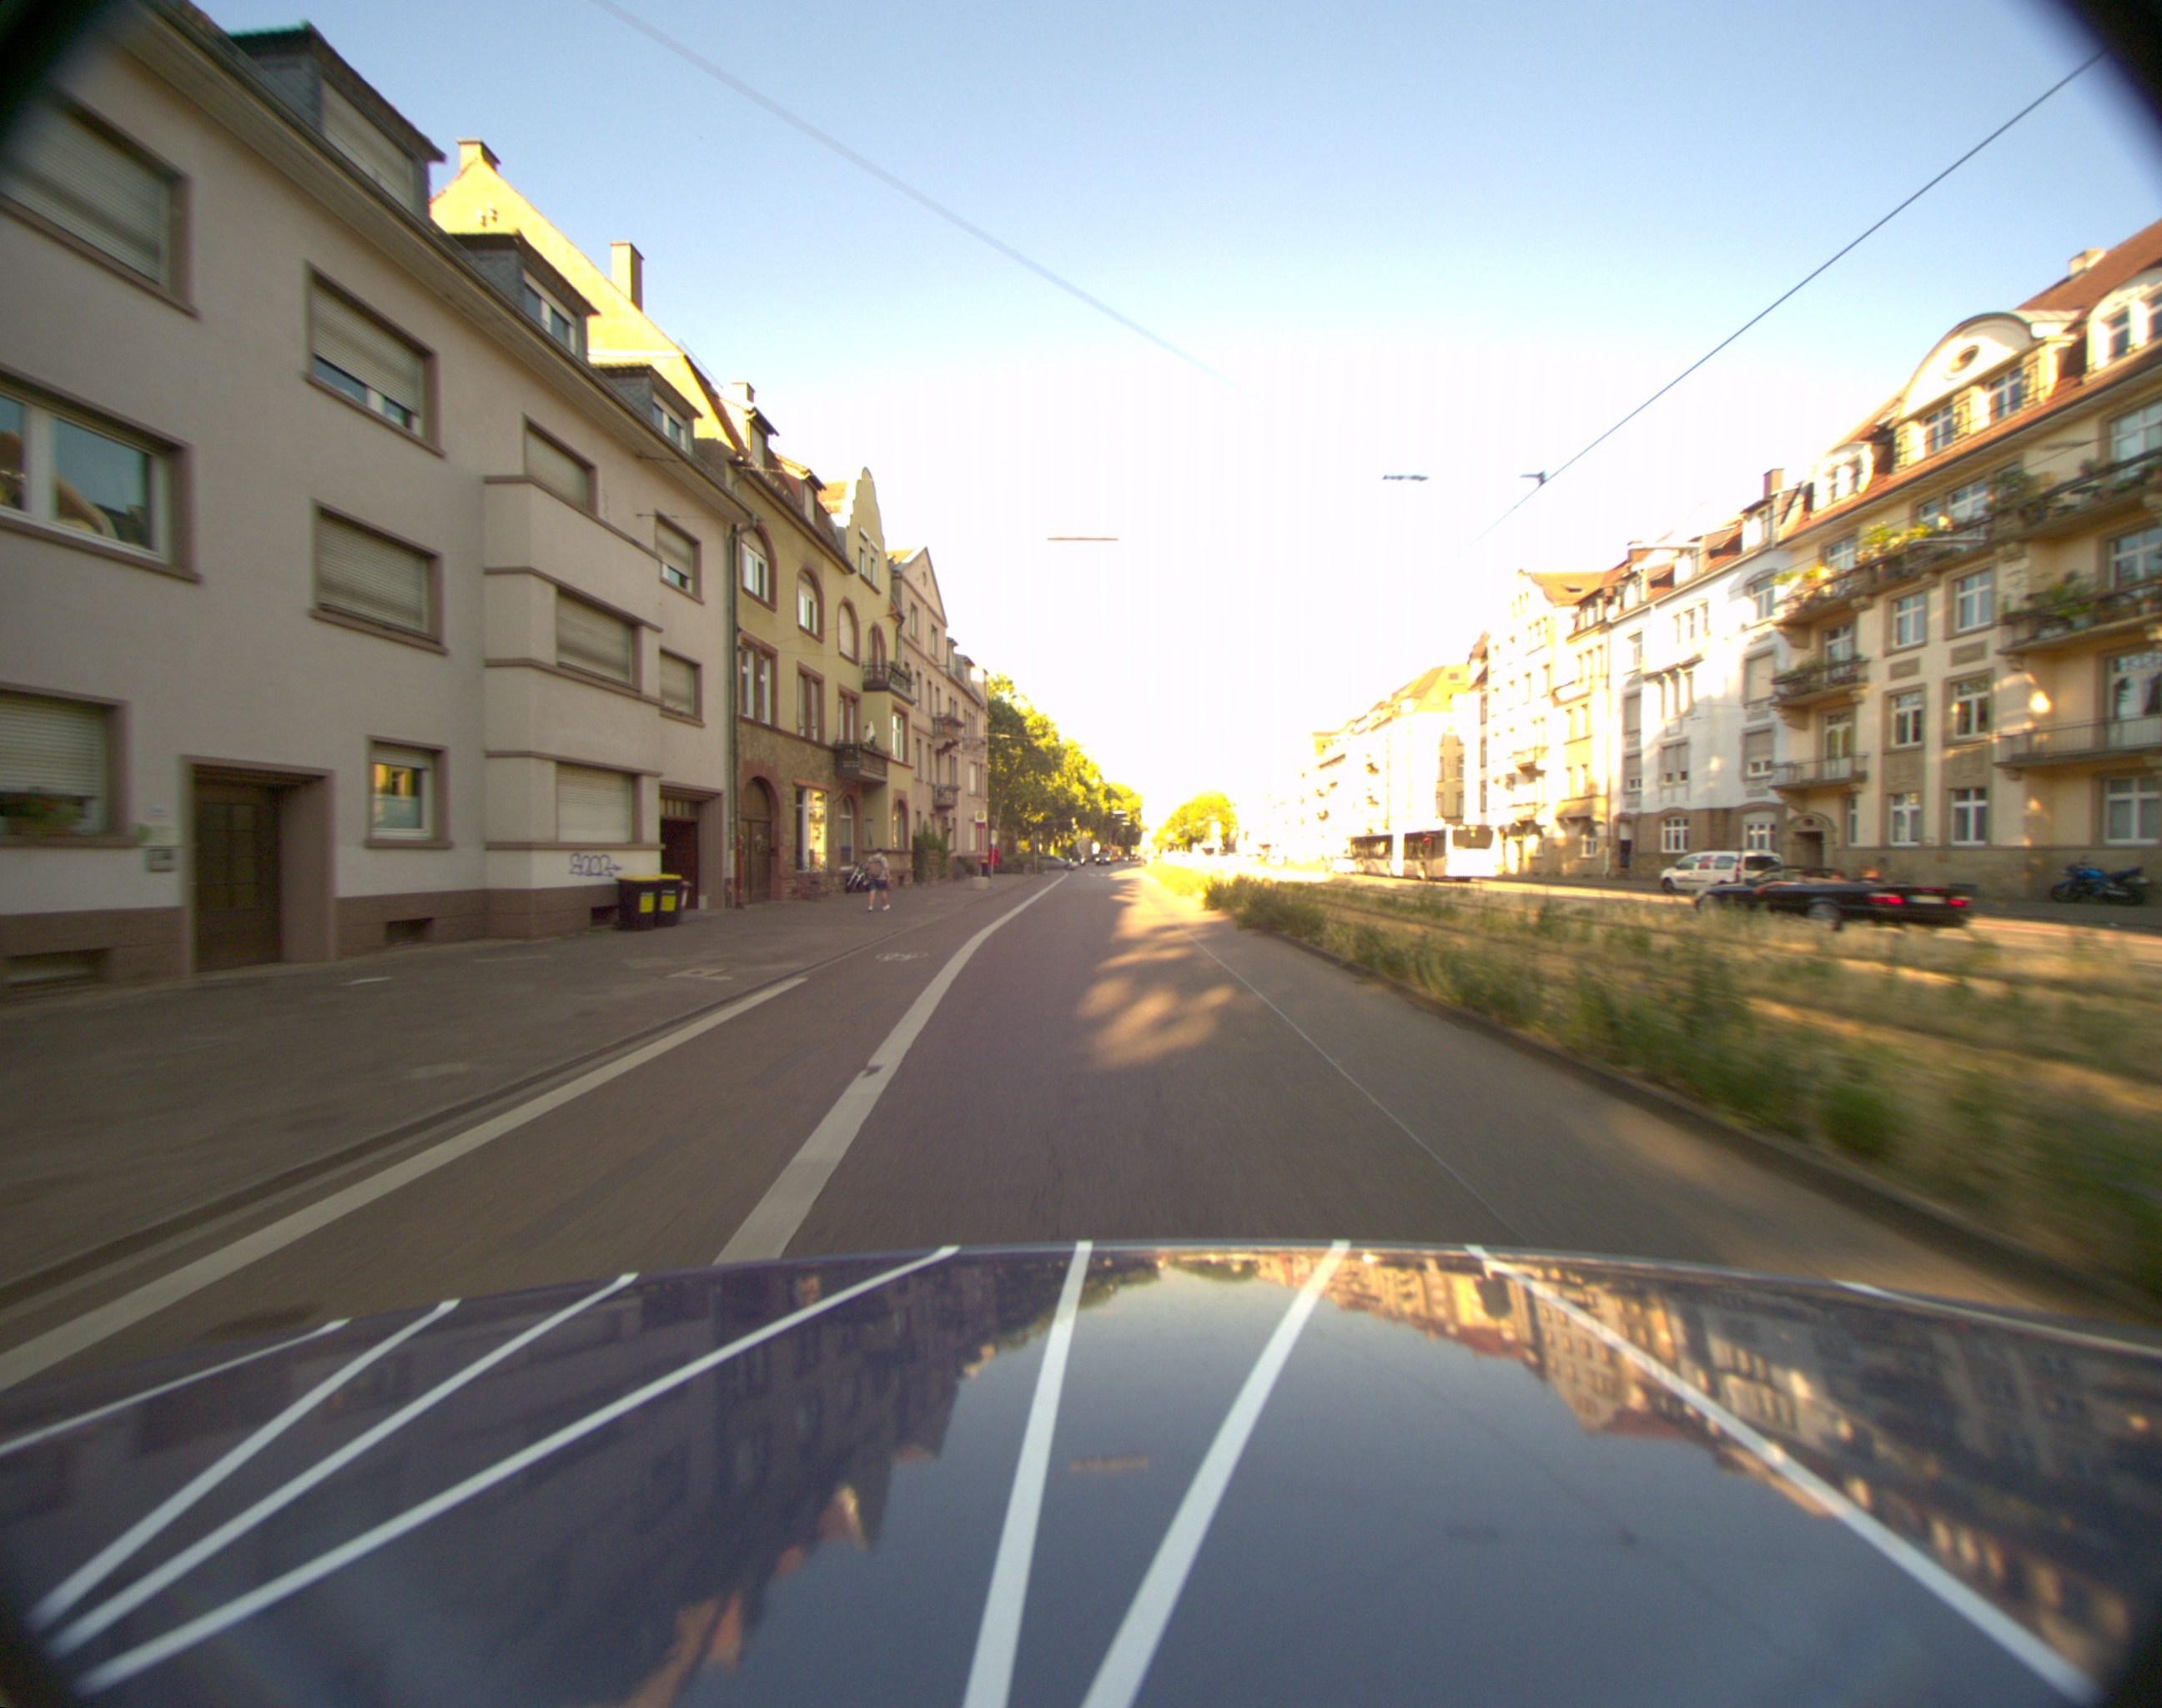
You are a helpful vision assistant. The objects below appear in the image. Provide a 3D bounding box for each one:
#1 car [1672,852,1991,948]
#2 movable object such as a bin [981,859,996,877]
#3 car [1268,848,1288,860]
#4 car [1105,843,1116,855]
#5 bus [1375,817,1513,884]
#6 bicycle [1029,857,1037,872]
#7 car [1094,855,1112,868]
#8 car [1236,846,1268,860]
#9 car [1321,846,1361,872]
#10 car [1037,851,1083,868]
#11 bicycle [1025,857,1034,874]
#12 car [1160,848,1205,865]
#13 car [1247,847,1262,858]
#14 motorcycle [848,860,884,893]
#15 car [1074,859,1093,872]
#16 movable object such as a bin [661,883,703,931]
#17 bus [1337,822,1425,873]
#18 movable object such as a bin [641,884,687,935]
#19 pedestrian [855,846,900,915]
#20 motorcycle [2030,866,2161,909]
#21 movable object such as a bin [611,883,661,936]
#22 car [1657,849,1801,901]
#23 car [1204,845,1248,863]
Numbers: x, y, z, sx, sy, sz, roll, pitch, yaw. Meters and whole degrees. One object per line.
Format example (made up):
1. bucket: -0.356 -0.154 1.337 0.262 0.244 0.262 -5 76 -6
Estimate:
1. car: 14.142 0.746 14.826 1.720 1.477 4.700 2 1 4
2. movable object such as a bin: -5.592 0.834 45.960 0.656 1.040 0.660 0 2 17
3. car: 25.095 -0.028 96.762 1.733 1.471 3.821 1 1 26
4. car: 5.737 -0.994 148.615 1.877 2.279 4.001 0 1 5
5. bus: 20.623 -0.317 44.356 3.261 3.355 11.979 0 1 5
6. bicycle: -3.440 0.755 54.748 0.370 1.062 1.874 0 0 4
7. car: 2.970 0.997 101.626 1.877 1.587 4.002 0 1 8
8. car: 18.858 -0.173 83.646 1.839 1.442 4.119 1 2 39
9. car: 18.311 0.331 53.670 1.934 1.674 4.001 0 1 7
10. car: -2.003 0.516 72.926 4.123 1.565 1.717 0 2 7
11. bicycle: -3.488 0.761 51.672 0.438 1.092 1.932 0 0 0
12. car: 9.558 0.198 71.422 4.049 1.517 1.783 0 2 10
13. car: 30.596 -0.246 134.035 1.918 1.889 4.310 0 1 6
14. motorcycle: -8.114 0.832 28.797 0.591 1.131 2.504 0 1 1
15. car: 0.325 1.470 100.213 1.877 1.587 4.002 0 1 8
16. movable object such as a bin: -8.484 1.111 16.172 0.555 0.964 0.585 0 2 6
17. bus: 21.539 -0.558 55.355 3.272 3.355 9.900 0 1 5
18. movable object such as a bin: -8.449 1.118 15.402 0.555 0.964 0.585 0 2 6
19. pedestrian: -5.507 0.706 20.622 0.830 1.802 1.150 0 2 3
20. motorcycle: 27.817 0.887 20.886 0.529 1.015 2.420 -3 0 4
21. movable object such as a bin: -8.548 1.053 14.611 0.555 0.964 0.585 0 2 6
22. car: 24.772 0.726 29.310 1.908 1.777 4.654 0 1 6
23. car: 14.131 -0.014 73.999 3.996 1.696 1.836 0 2 4
